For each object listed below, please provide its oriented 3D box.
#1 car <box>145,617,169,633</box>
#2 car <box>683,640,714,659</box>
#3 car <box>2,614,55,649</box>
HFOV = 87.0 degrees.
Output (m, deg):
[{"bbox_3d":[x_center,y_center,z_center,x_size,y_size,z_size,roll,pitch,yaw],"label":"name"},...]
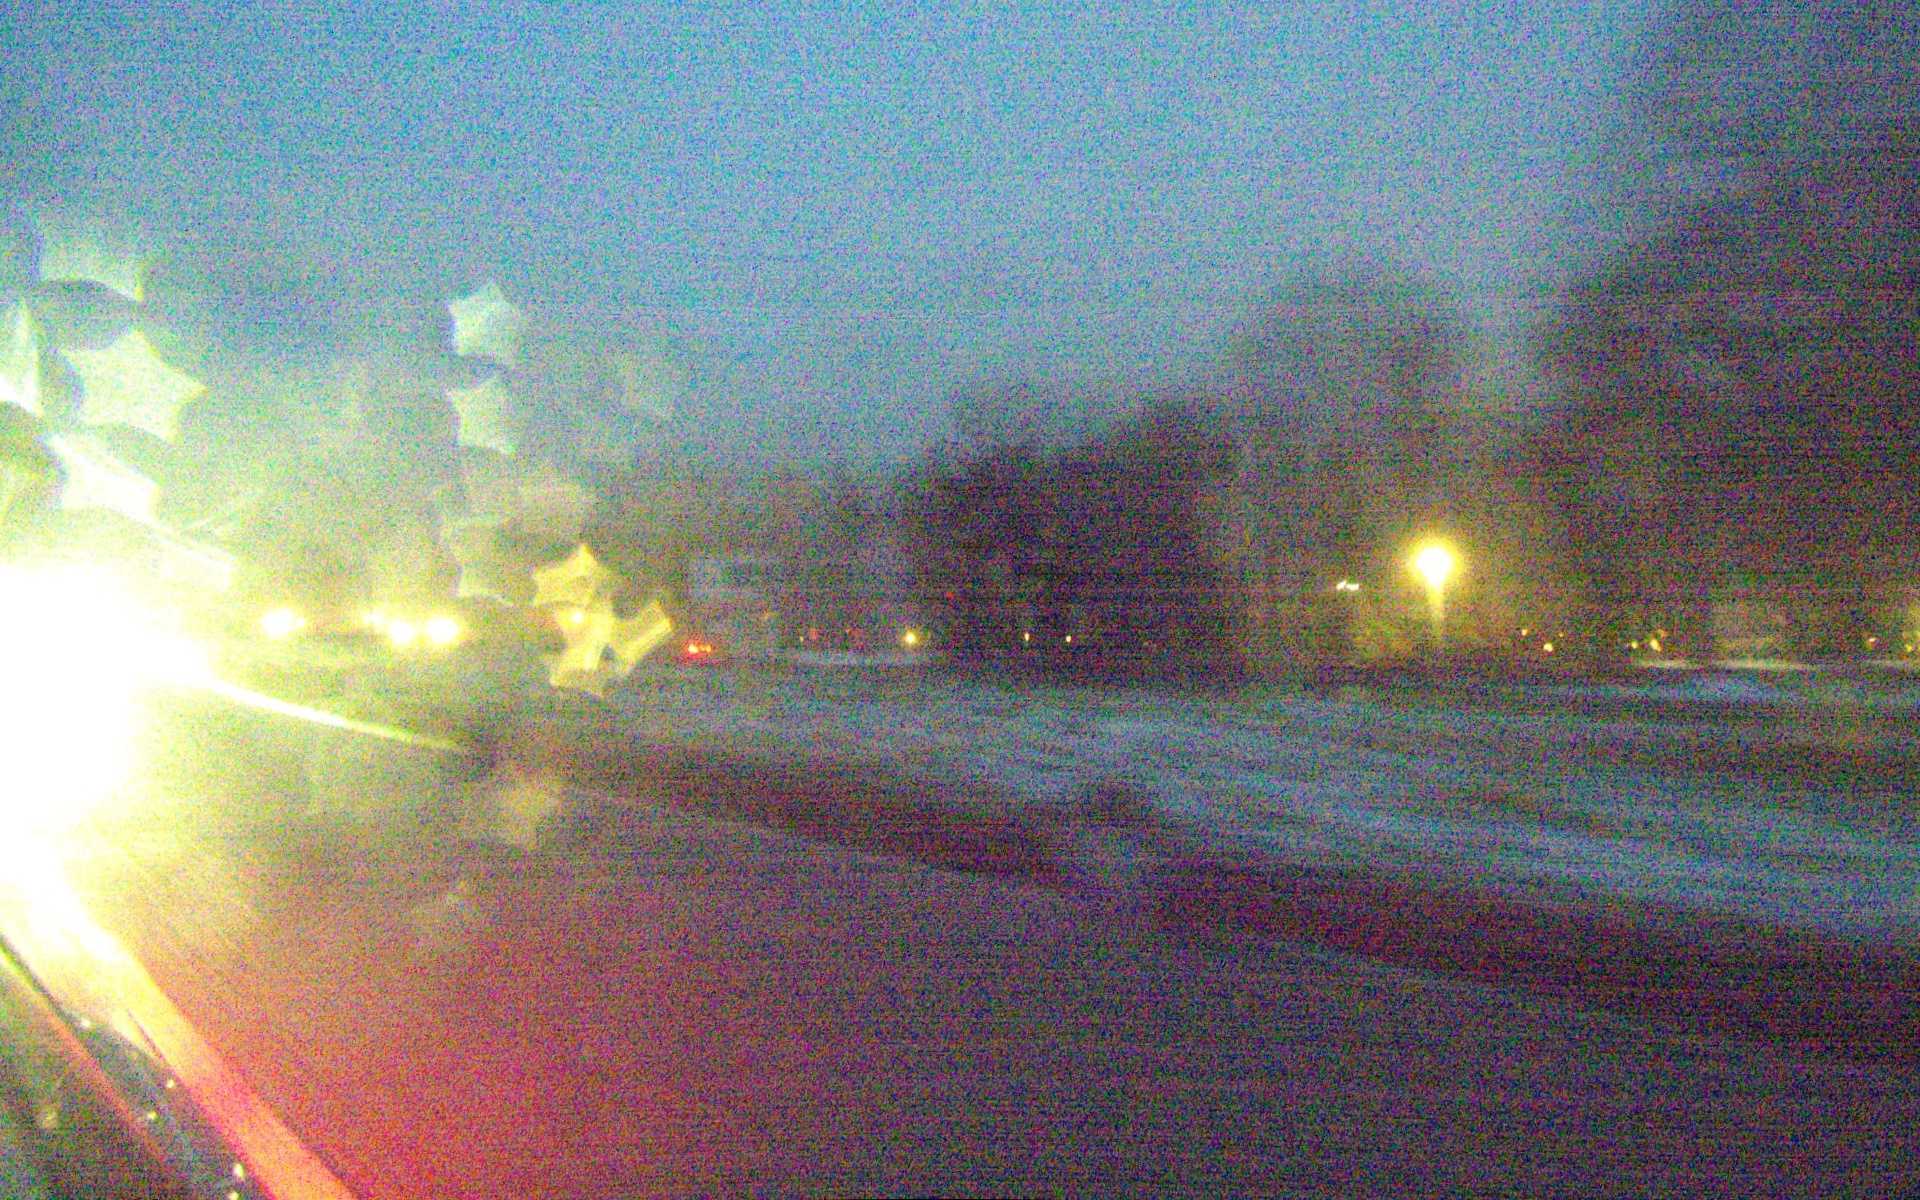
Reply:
[{"bbox_3d":[-78.622,2.423,99.098,1.712,1.554,4.008,-1,0,-38],"label":"car"},{"bbox_3d":[-23.087,4.350,89.282,1.633,1.532,3.459,-1,0,-33],"label":"car"},{"bbox_3d":[-48.746,1.634,53.045,1.930,1.735,4.005,1,-2,-41],"label":"car"}]
